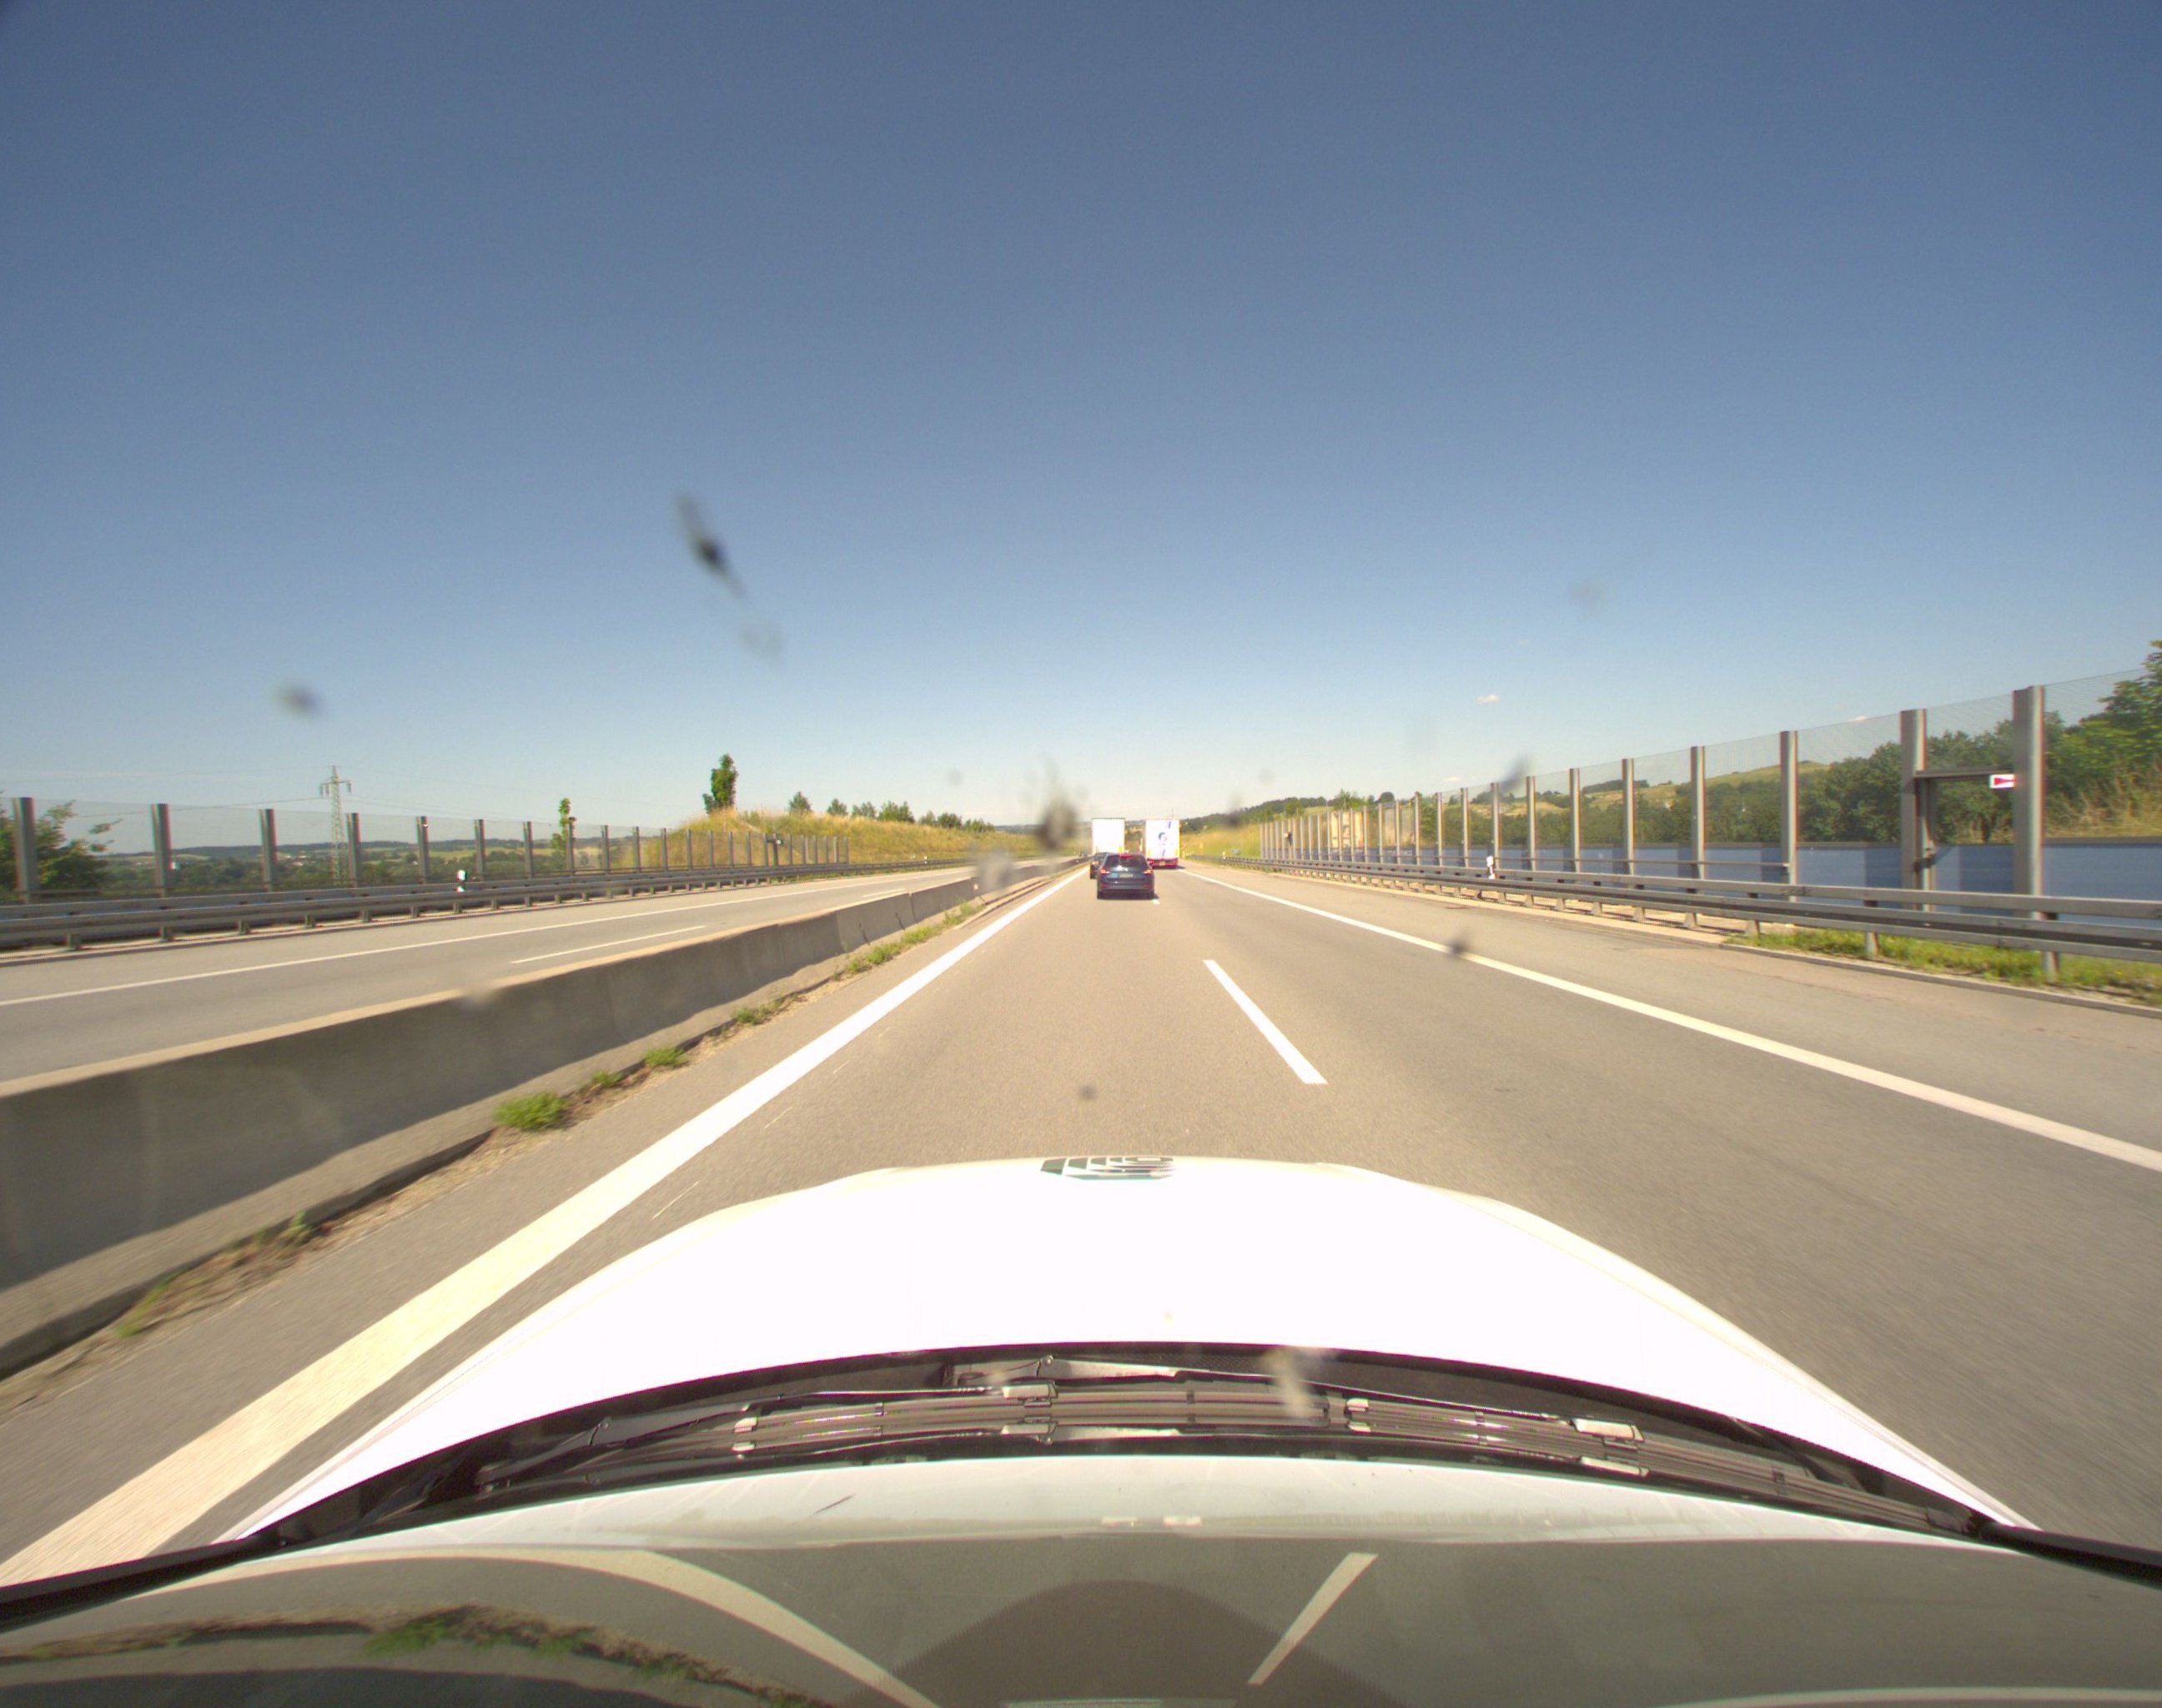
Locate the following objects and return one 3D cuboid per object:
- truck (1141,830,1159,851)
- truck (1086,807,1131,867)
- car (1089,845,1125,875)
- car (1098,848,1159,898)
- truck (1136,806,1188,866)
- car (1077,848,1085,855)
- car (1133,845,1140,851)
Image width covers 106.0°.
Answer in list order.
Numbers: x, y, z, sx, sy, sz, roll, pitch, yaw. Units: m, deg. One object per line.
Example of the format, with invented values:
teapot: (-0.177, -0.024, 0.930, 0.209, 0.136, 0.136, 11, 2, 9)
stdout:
truck: (15.573, -3.017, 185.084, 3.589, 4.381, 11.243, -4, 1, 3)
truck: (2.463, -1.398, 68.395, 3.197, 4.381, 11.244, -4, 1, 3)
car: (1.393, 0.288, 44.721, 1.695, 1.441, 3.999, -4, 1, -1)
car: (1.461, 0.544, 26.165, 1.770, 1.441, 3.790, -1, 1, 1)
truck: (6.602, -1.440, 68.180, 3.589, 4.381, 11.243, -4, 1, 3)
car: (0.016, -0.560, 190.388, 1.739, 1.356, 4.003, -4, 1, 3)
car: (16.112, -1.733, 236.630, 1.693, 1.441, 4.002, -2, 1, 2)
